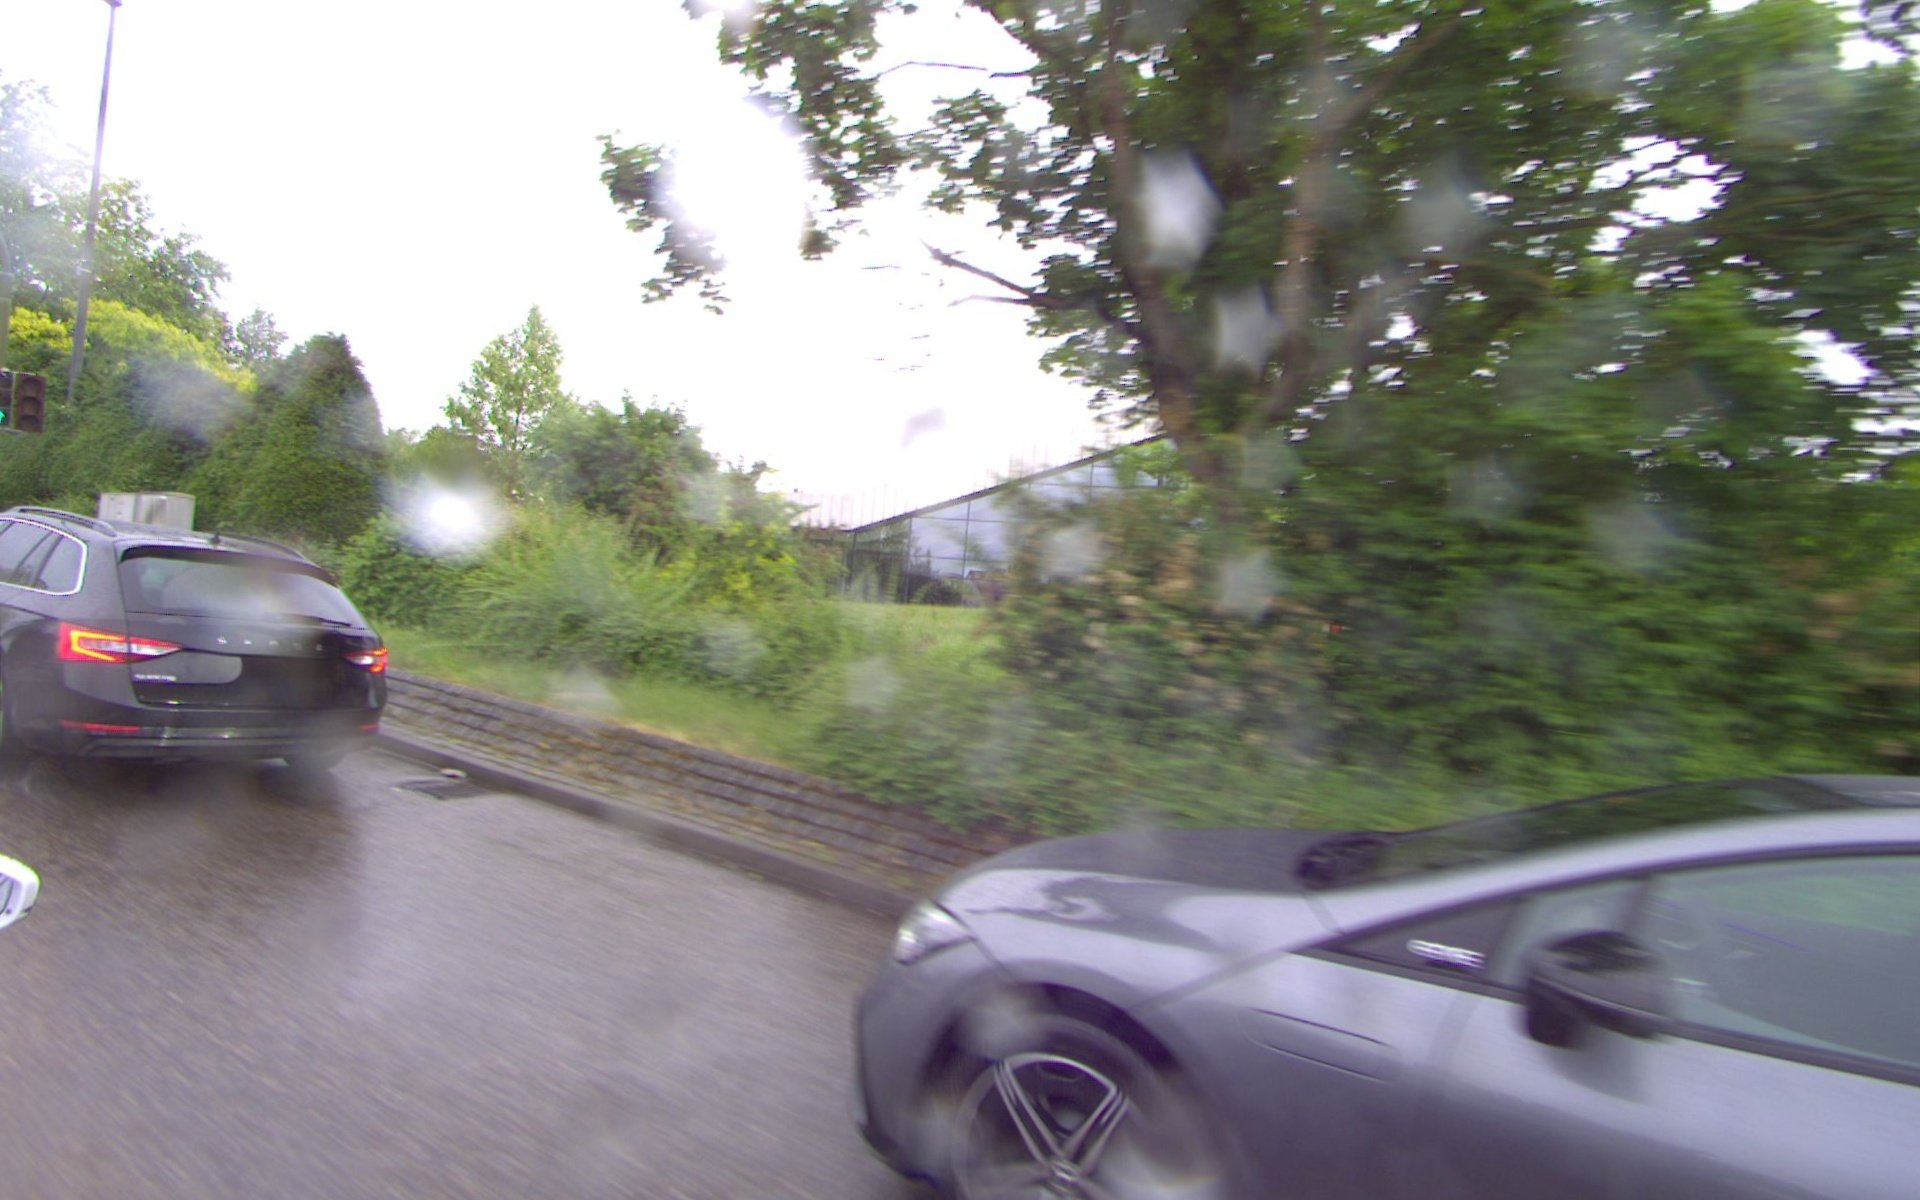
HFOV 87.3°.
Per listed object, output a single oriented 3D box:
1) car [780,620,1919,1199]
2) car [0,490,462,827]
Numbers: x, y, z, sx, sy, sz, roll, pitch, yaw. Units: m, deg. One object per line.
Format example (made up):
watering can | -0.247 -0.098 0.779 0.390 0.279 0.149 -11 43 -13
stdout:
car | 1.996 1.080 2.179 4.475 1.460 1.835 6 -2 31
car | -5.613 0.197 6.623 4.533 1.524 1.959 6 -3 32
